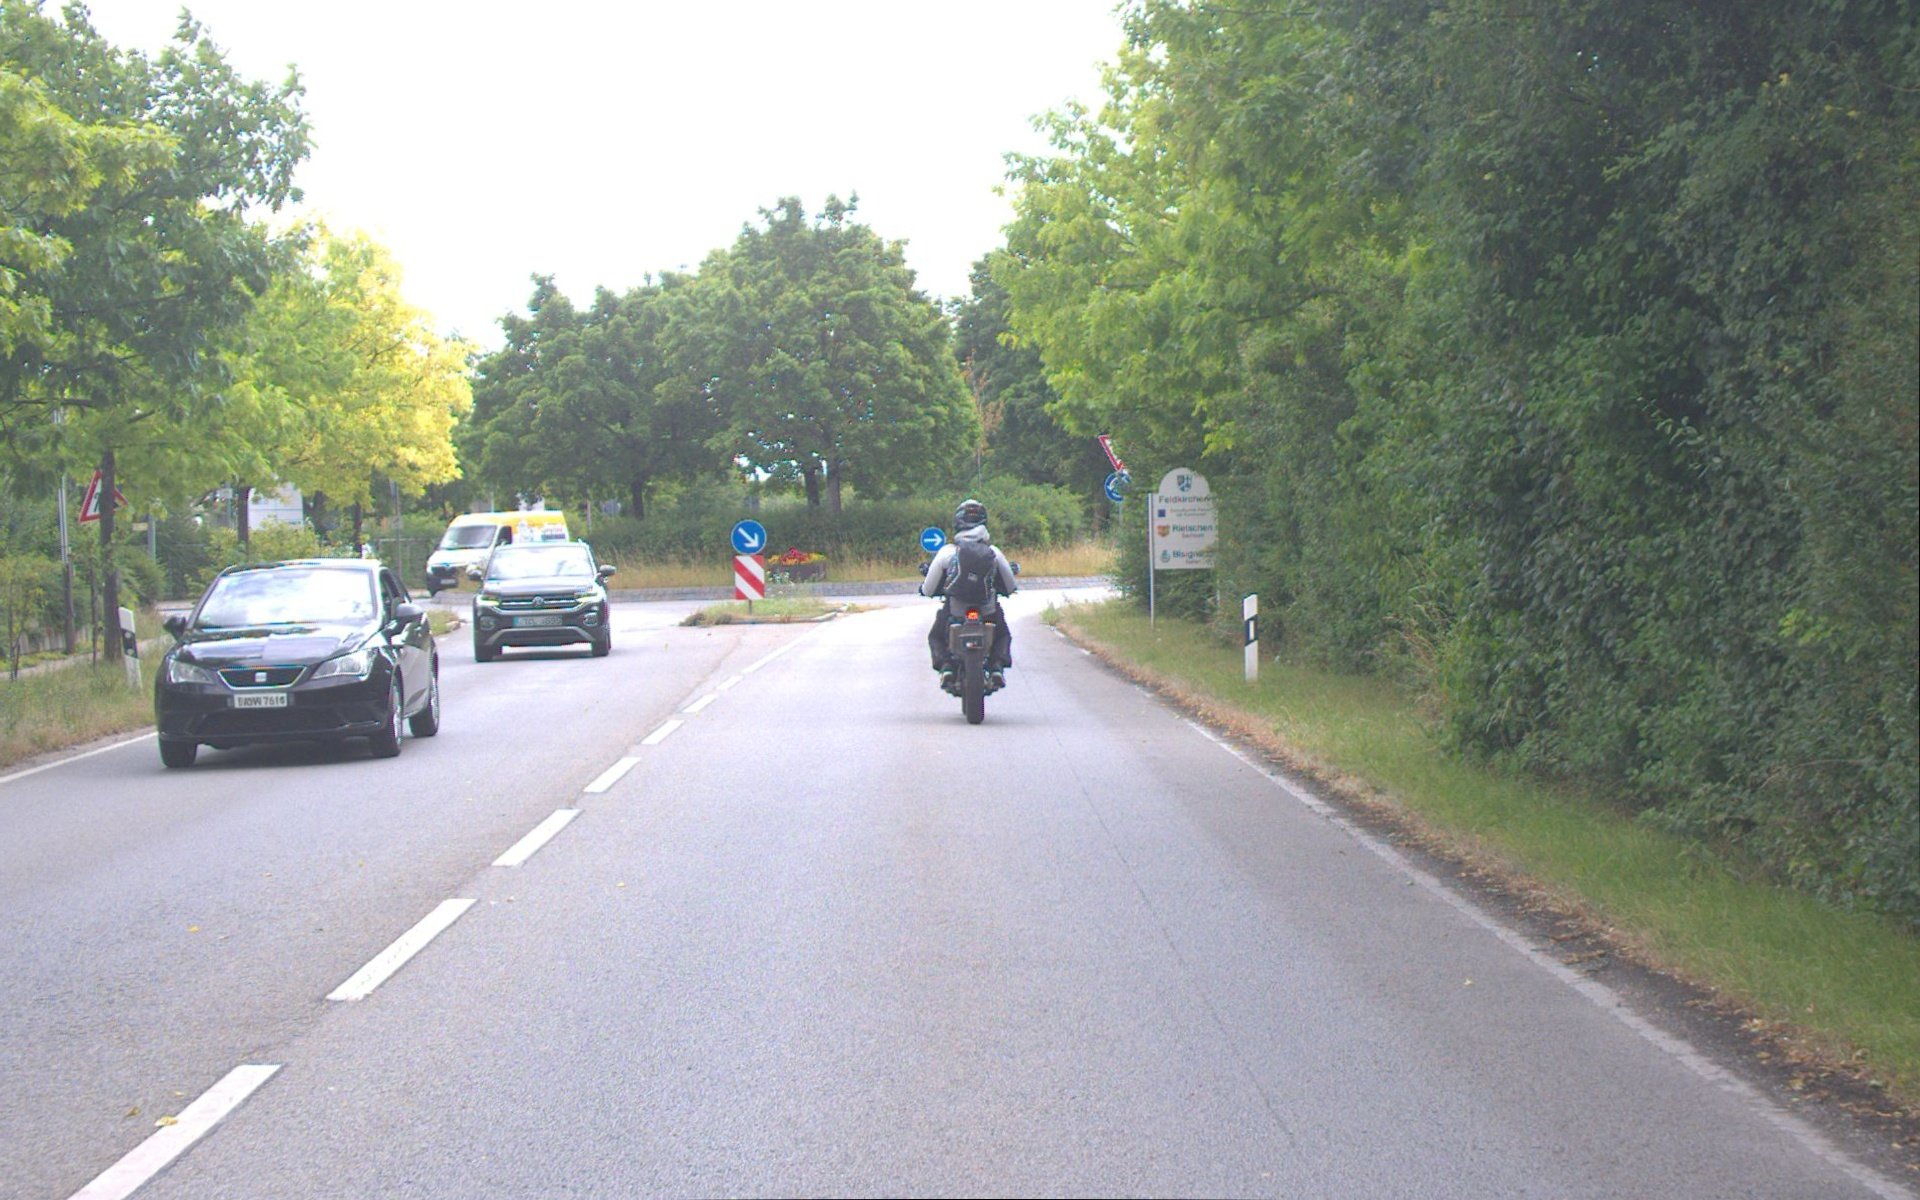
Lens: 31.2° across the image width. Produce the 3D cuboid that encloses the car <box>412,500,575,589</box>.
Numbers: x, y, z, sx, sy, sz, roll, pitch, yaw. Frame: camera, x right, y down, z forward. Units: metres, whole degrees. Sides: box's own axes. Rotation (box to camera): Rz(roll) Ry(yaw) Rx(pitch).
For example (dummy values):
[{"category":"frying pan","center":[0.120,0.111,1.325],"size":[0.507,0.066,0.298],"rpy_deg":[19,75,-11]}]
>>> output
[{"category":"car","center":[-13.673,-1.656,101.108],"size":[2.165,2.443,5.436],"rpy_deg":[-1,2,24]}]

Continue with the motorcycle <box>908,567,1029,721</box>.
[{"category":"motorcycle","center":[0.046,0.333,28.105],"size":[0.896,1.154,2.620],"rpy_deg":[-1,1,-1]}]

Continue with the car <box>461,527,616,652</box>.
[{"category":"car","center":[-5.637,-0.176,46.400],"size":[1.733,1.529,4.096],"rpy_deg":[-3,1,-3]}]

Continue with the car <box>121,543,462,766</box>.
[{"category":"car","center":[-4.815,0.334,25.280],"size":[1.676,1.406,4.013],"rpy_deg":[-3,1,0]}]

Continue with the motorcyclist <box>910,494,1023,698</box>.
[{"category":"motorcyclist","center":[0.042,-0.045,28.126],"size":[0.861,1.618,1.191],"rpy_deg":[-1,1,-1]}]
